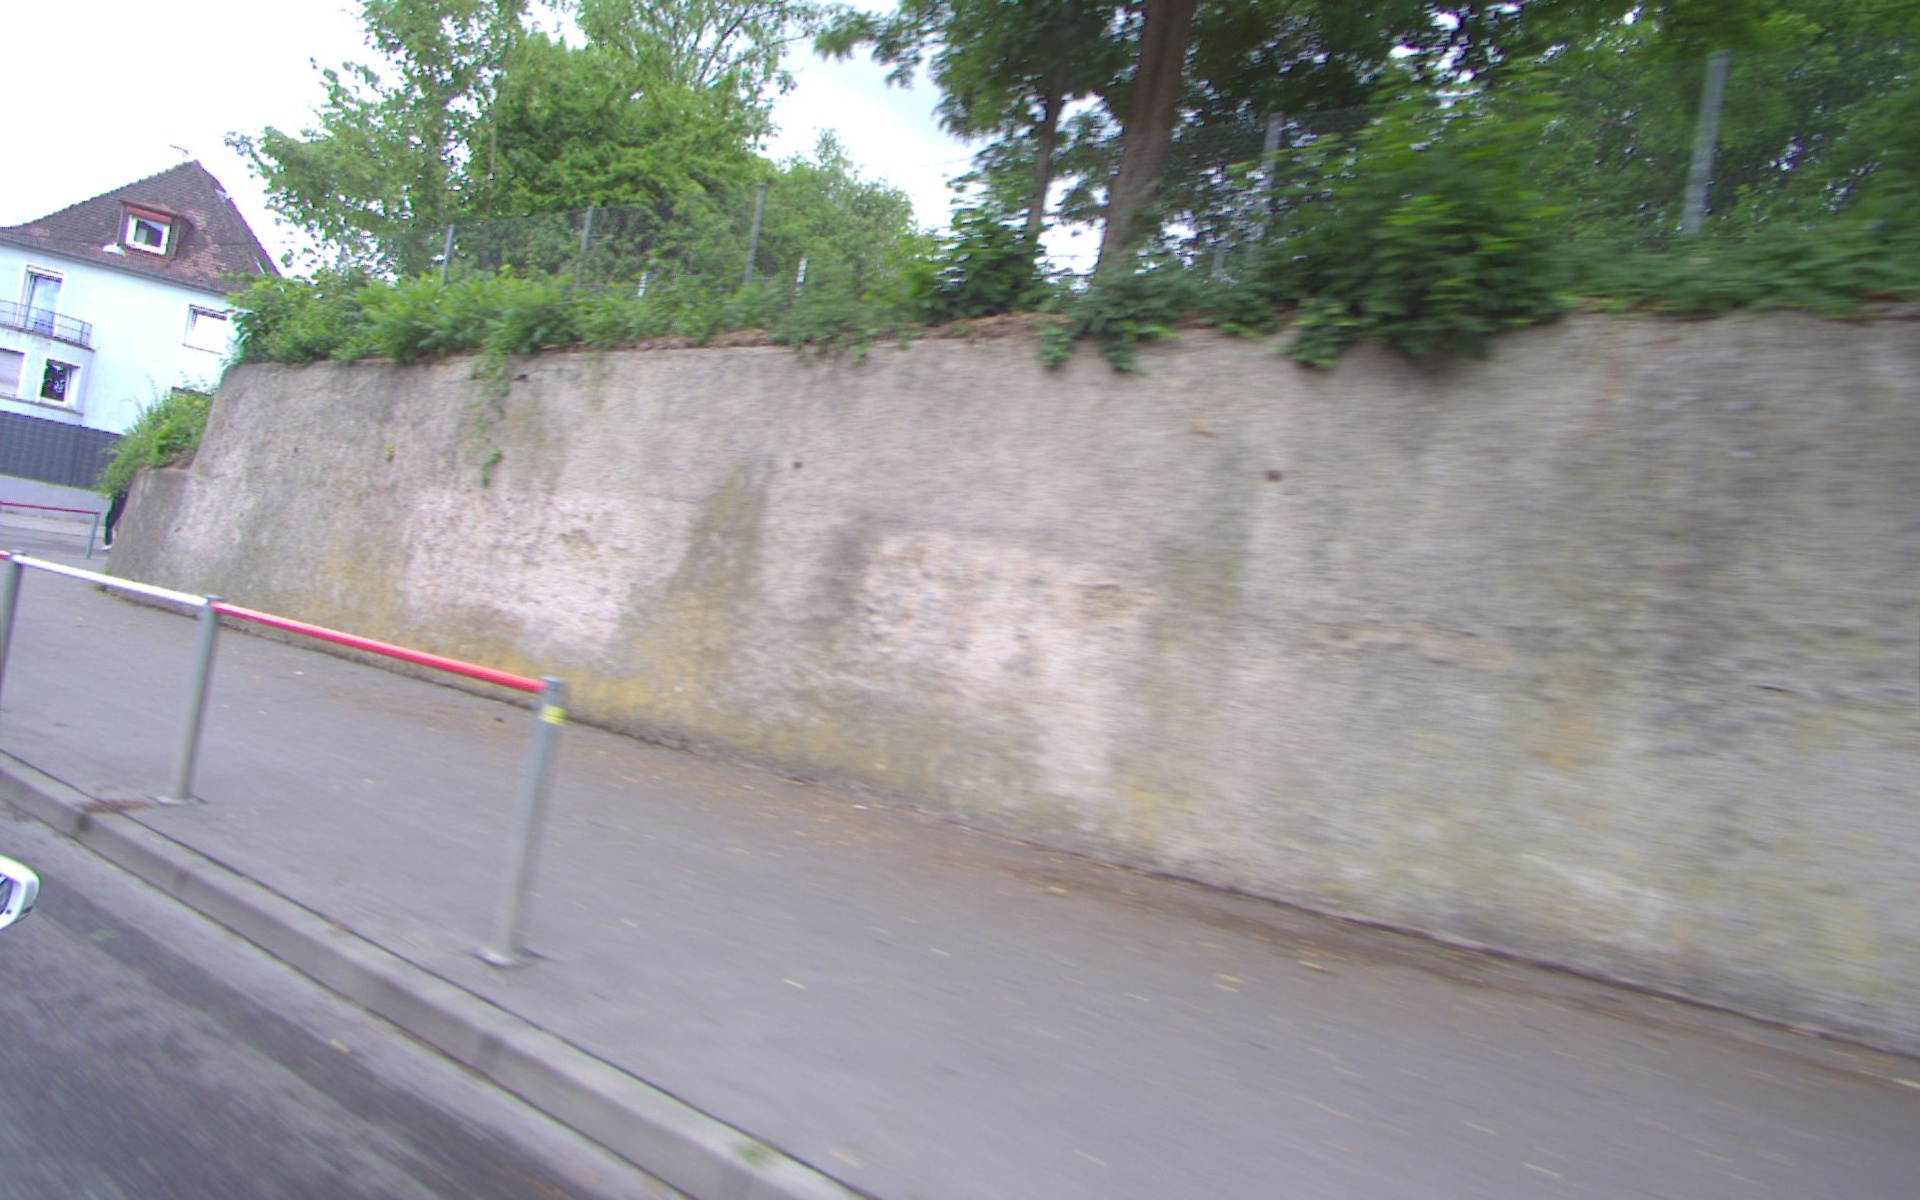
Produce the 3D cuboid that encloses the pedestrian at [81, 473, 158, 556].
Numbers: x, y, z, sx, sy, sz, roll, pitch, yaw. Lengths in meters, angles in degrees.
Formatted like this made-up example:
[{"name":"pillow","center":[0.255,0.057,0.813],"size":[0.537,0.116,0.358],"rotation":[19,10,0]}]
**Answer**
[{"name":"pedestrian","center":[-20.467,-2.055,24.515],"size":[0.999,1.833,0.819],"rotation":[8,1,-12]}]
